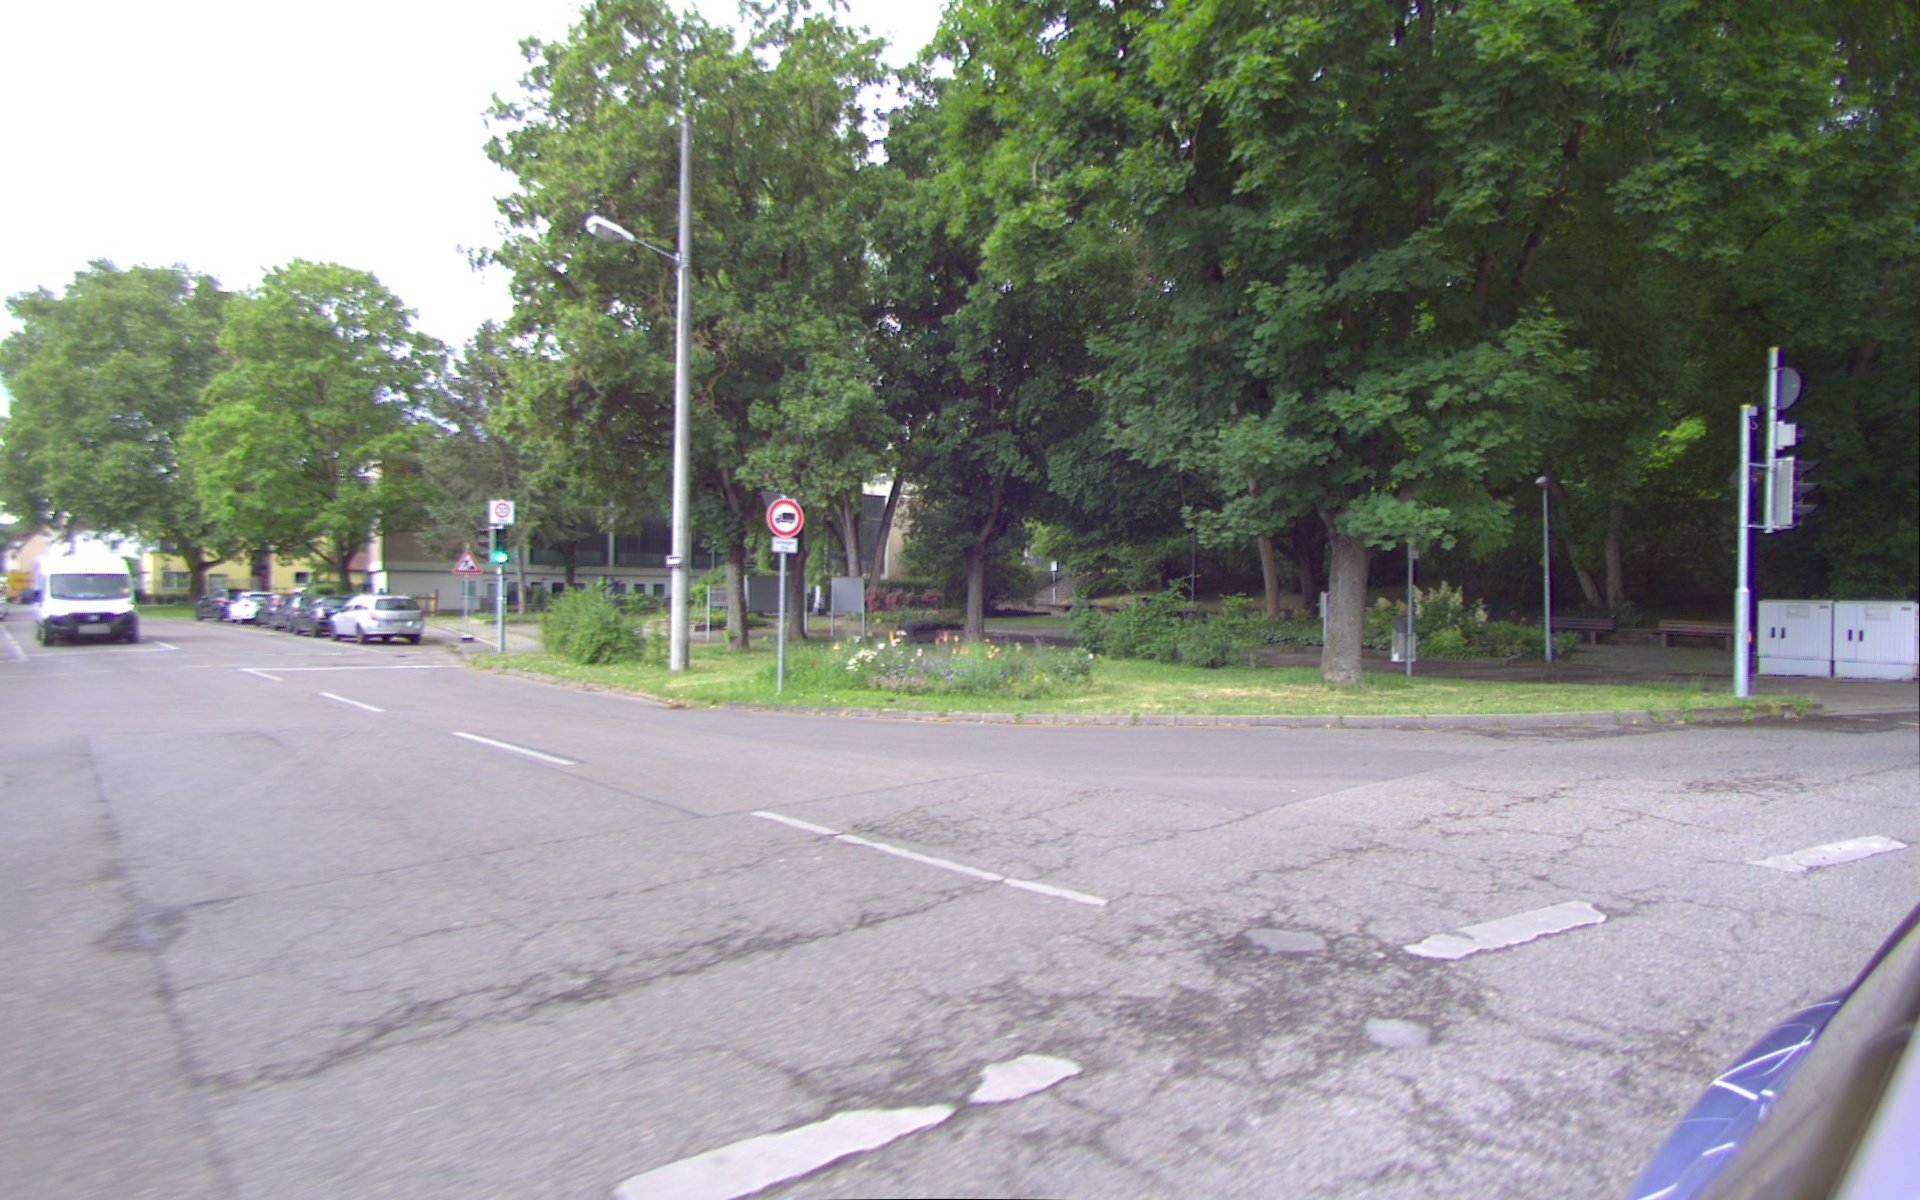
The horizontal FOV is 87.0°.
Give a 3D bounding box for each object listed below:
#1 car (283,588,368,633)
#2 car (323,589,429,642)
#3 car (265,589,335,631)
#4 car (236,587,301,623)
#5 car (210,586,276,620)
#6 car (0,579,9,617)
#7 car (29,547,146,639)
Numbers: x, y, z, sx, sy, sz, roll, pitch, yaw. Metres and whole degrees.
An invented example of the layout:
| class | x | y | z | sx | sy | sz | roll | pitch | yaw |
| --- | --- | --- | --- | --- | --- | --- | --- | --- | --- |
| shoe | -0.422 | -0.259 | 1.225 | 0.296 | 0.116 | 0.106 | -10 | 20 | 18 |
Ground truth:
| class | x | y | z | sx | sy | sz | roll | pitch | yaw |
| --- | --- | --- | --- | --- | --- | --- | --- | --- | --- |
| car | -22.546 | 0.325 | 35.906 | 1.772 | 1.474 | 3.948 | -1 | 1 | -44 |
| car | -18.329 | 0.424 | 31.686 | 1.869 | 1.474 | 4.535 | -1 | 1 | -44 |
| car | -25.760 | 0.338 | 39.449 | 1.683 | 1.505 | 3.751 | -1 | 2 | -43 |
| car | -29.464 | 0.173 | 43.092 | 1.711 | 1.407 | 3.732 | -1 | 1 | -44 |
| car | -33.686 | 0.105 | 47.489 | 1.893 | 1.474 | 4.391 | -1 | 1 | -44 |
| car | -45.615 | -0.116 | 47.020 | 3.768 | 1.749 | 1.909 | 1 | 1 | 44 |
| car | -25.669 | -0.236 | 29.670 | 2.298 | 2.422 | 5.944 | 0 | 1 | -44 |
